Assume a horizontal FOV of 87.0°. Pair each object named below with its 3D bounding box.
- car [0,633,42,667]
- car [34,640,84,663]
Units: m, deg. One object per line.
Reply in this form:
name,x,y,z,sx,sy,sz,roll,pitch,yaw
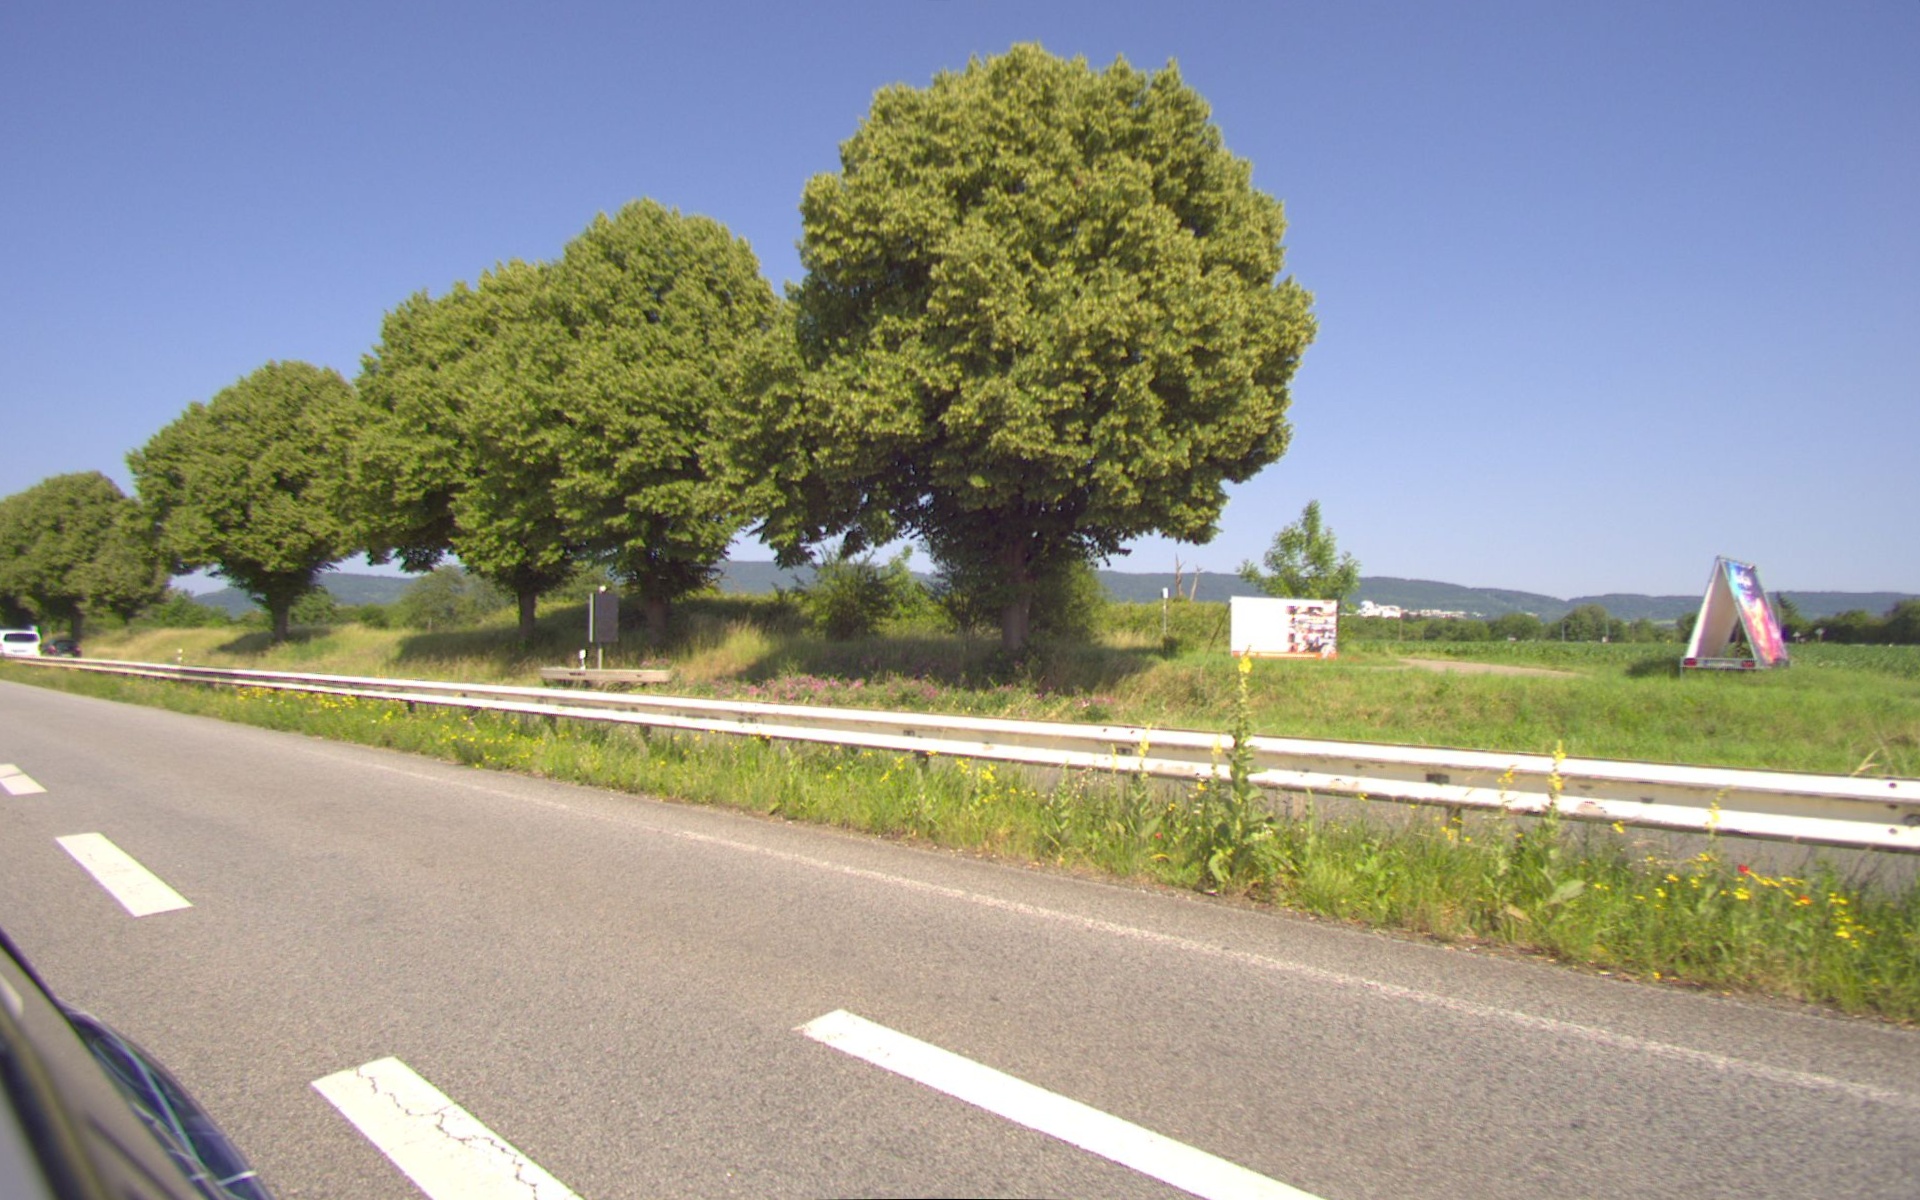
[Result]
car,-52.643,2.772,56.192,3.998,1.816,1.973,-2,-3,41
car,-59.579,3.368,66.886,3.692,1.475,1.706,-2,-3,36
